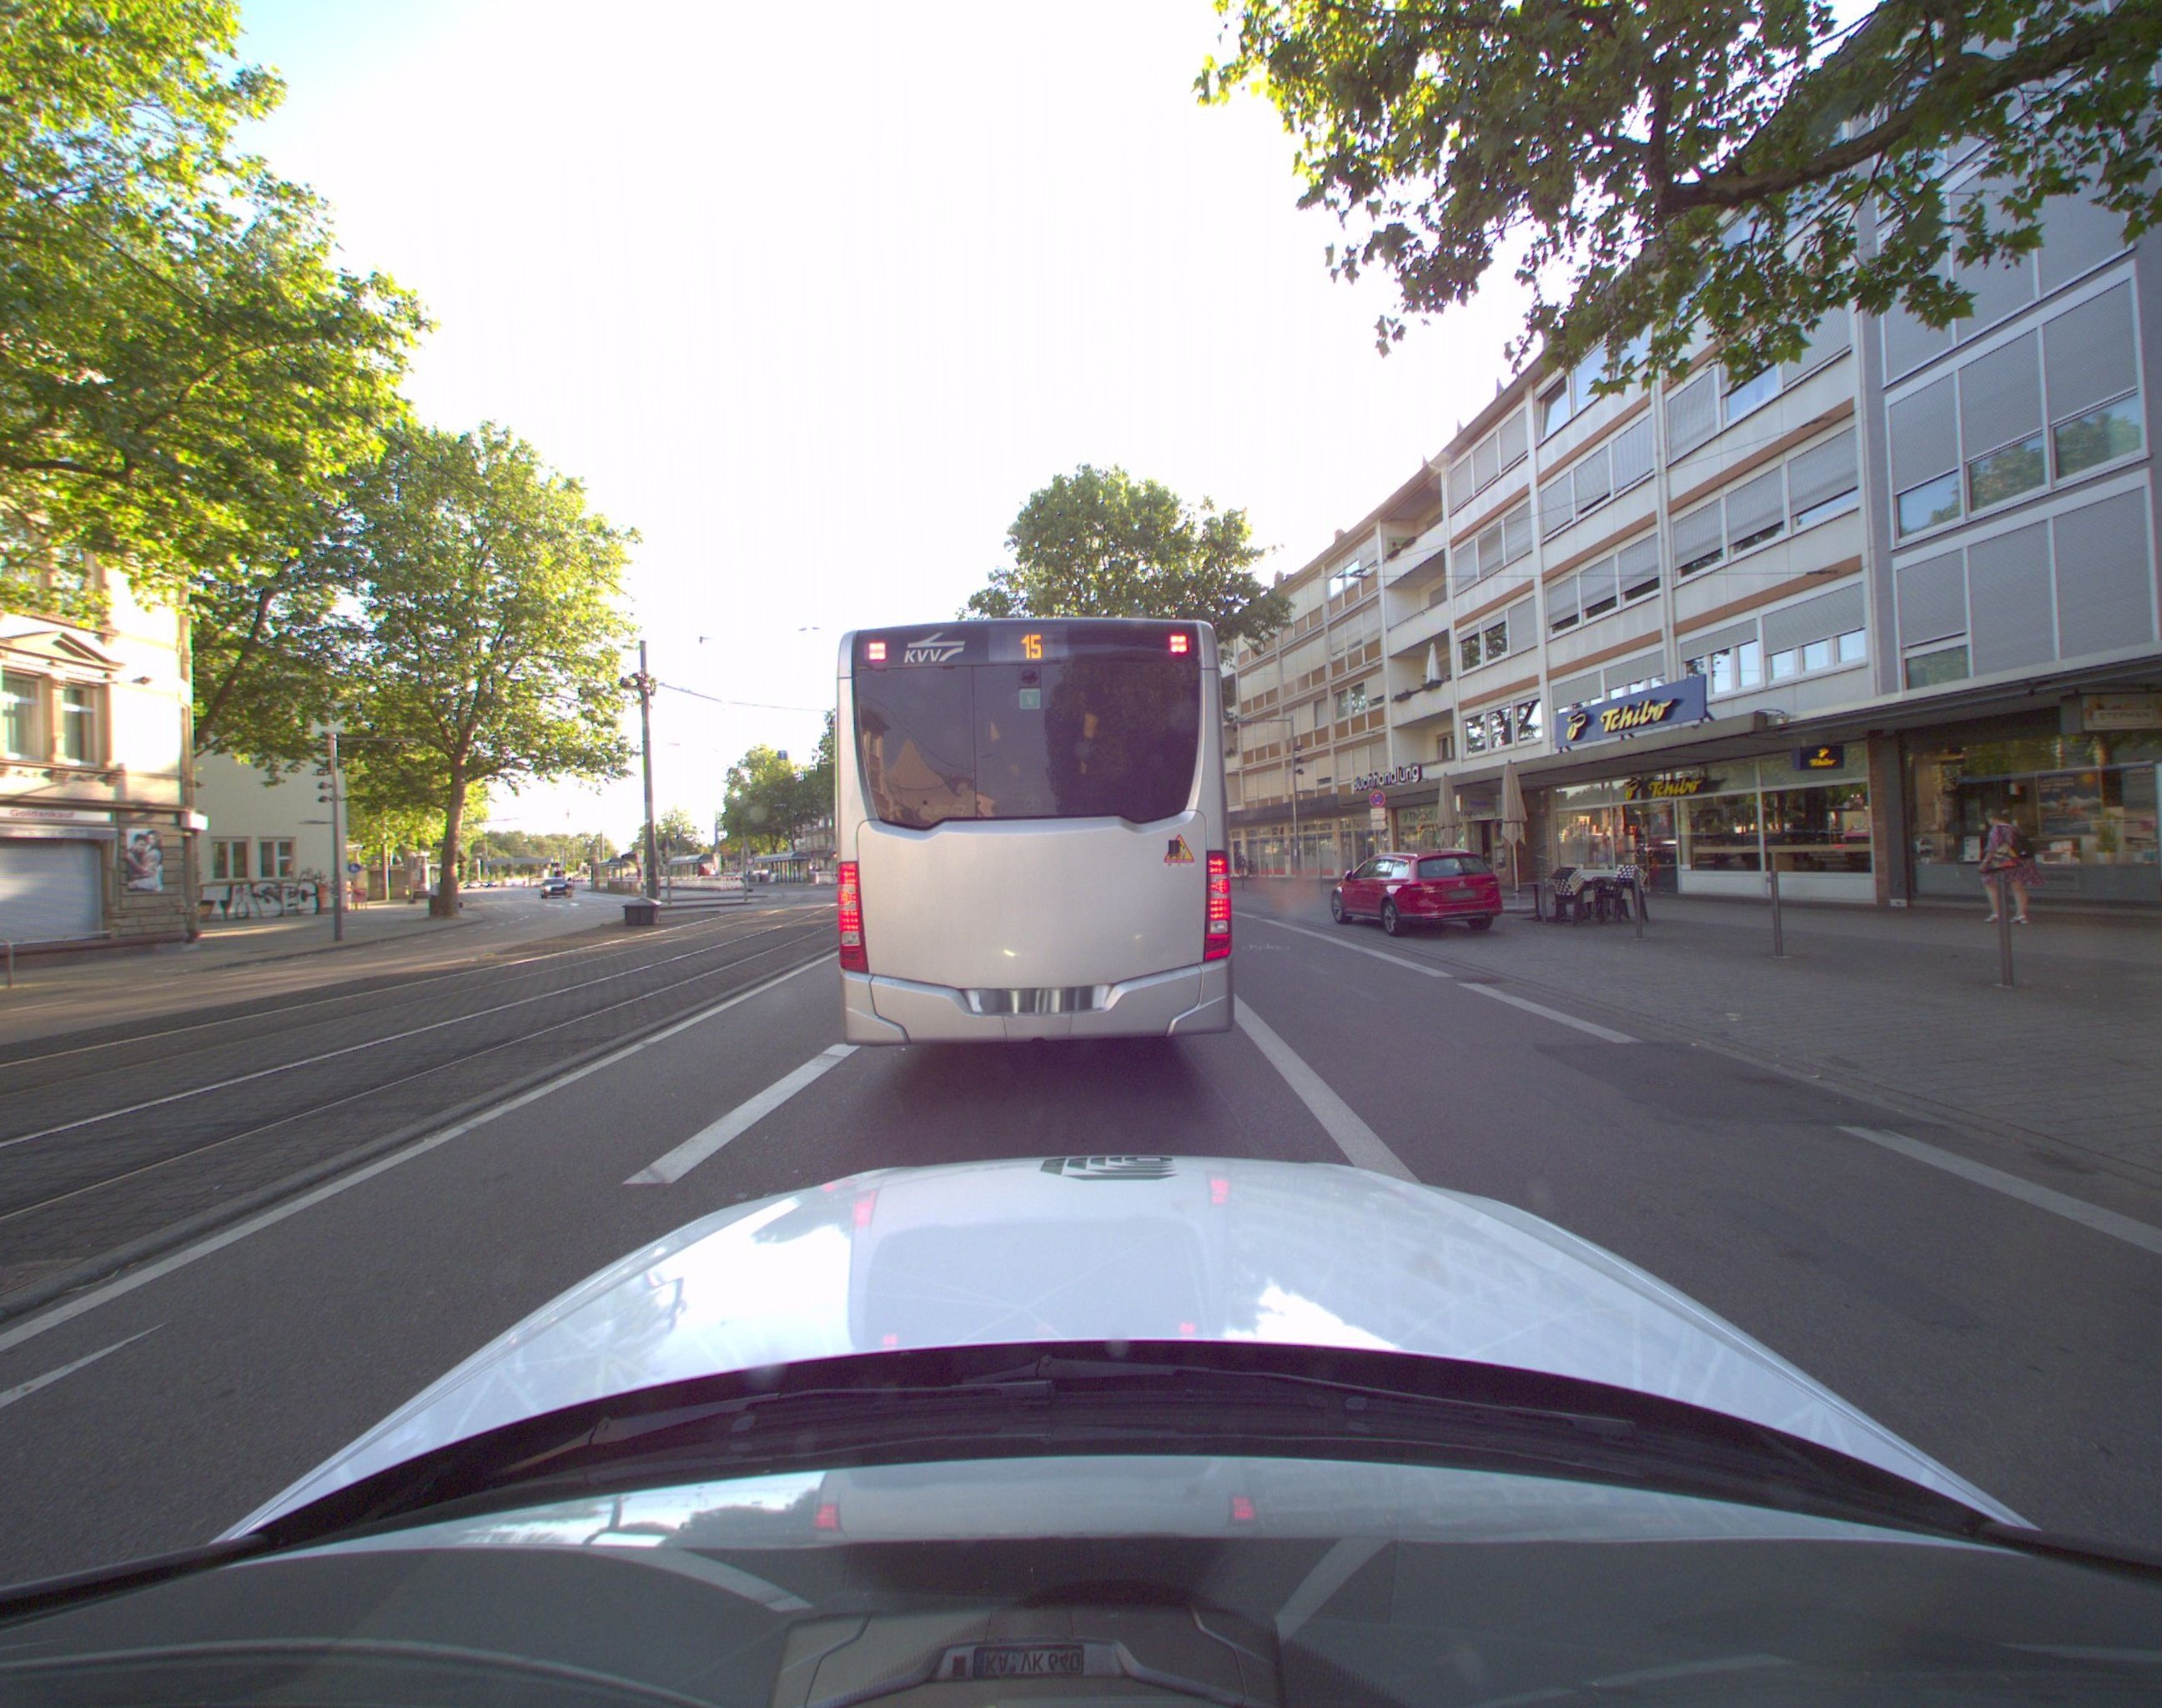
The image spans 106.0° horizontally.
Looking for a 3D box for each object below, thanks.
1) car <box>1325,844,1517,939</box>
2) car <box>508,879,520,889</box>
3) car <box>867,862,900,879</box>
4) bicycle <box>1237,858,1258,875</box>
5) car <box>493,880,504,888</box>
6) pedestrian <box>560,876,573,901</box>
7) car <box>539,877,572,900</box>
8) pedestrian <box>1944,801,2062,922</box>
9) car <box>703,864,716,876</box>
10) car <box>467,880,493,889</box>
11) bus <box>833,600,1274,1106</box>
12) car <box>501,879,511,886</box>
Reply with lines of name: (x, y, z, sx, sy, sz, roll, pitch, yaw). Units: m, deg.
car: (6.371, 0.639, 15.849, 1.765, 1.482, 4.300, -3, 0, -2)
car: (-111.428, 5.879, 160.029, 1.858, 1.684, 3.677, -4, 1, -35)
car: (-21.461, 1.740, 88.530, 2.010, 1.792, 3.954, 0, -1, -39)
bicycle: (9.307, 0.710, 45.550, 0.413, 0.945, 1.431, -2, -1, -18)
car: (-117.810, 6.066, 164.690, 1.858, 1.684, 3.676, -2, -1, -35)
pedestrian: (-34.356, 2.319, 54.361, 0.661, 1.656, 0.438, -2, -1, -41)
car: (-40.049, 2.603, 62.076, 2.008, 1.640, 3.958, -2, -1, -33)
pedestrian: (12.874, 0.102, 11.400, 0.649, 1.592, 0.788, -4, -1, -4)
car: (-65.484, 2.838, 143.557, 1.629, 2.014, 3.080, -2, -1, -32)
car: (-122.648, 6.301, 166.154, 1.768, 1.640, 4.024, -3, -1, 44)
bus: (-0.150, 0.015, 9.932, 2.622, 3.028, 9.995, -1, 0, 0)
car: (-130.071, 6.450, 184.210, 1.858, 1.684, 3.676, -2, -1, -35)
